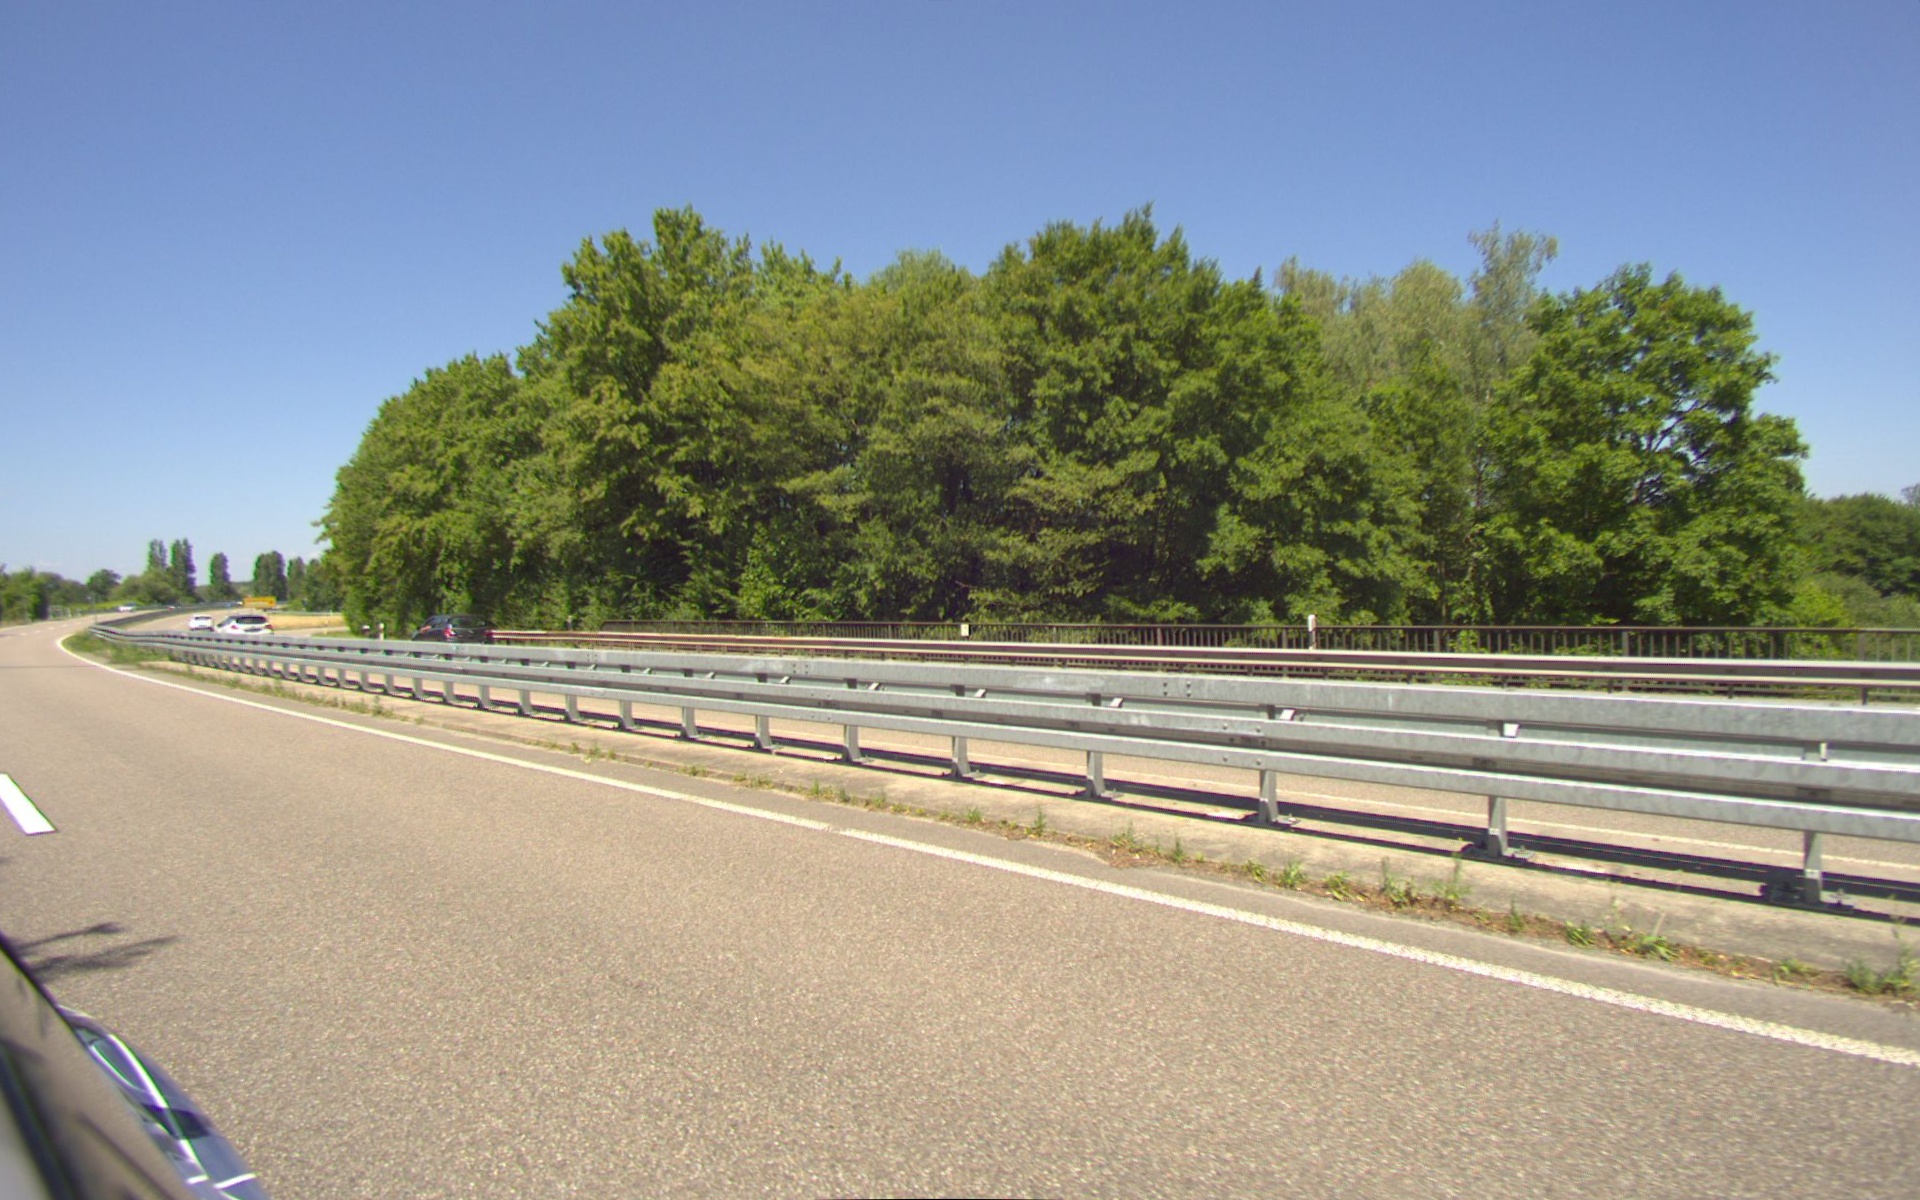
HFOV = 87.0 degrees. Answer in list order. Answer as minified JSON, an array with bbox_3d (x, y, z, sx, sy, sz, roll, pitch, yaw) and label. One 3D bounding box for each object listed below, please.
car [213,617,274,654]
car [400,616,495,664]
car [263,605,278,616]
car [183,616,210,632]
[{"bbox_3d":[-33.322,1.621,47.025,4.221,1.619,1.632,-1,-1,45],"label":"car"},{"bbox_3d":[-17.594,1.334,34.673,3.997,1.540,1.633,-1,-1,42],"label":"car"},{"bbox_3d":[-136.210,2.088,199.960,1.966,2.028,4.013,-3,2,-27],"label":"car"},{"bbox_3d":[-68.597,2.151,90.906,1.630,1.458,4.226,0,-1,-41],"label":"car"}]
